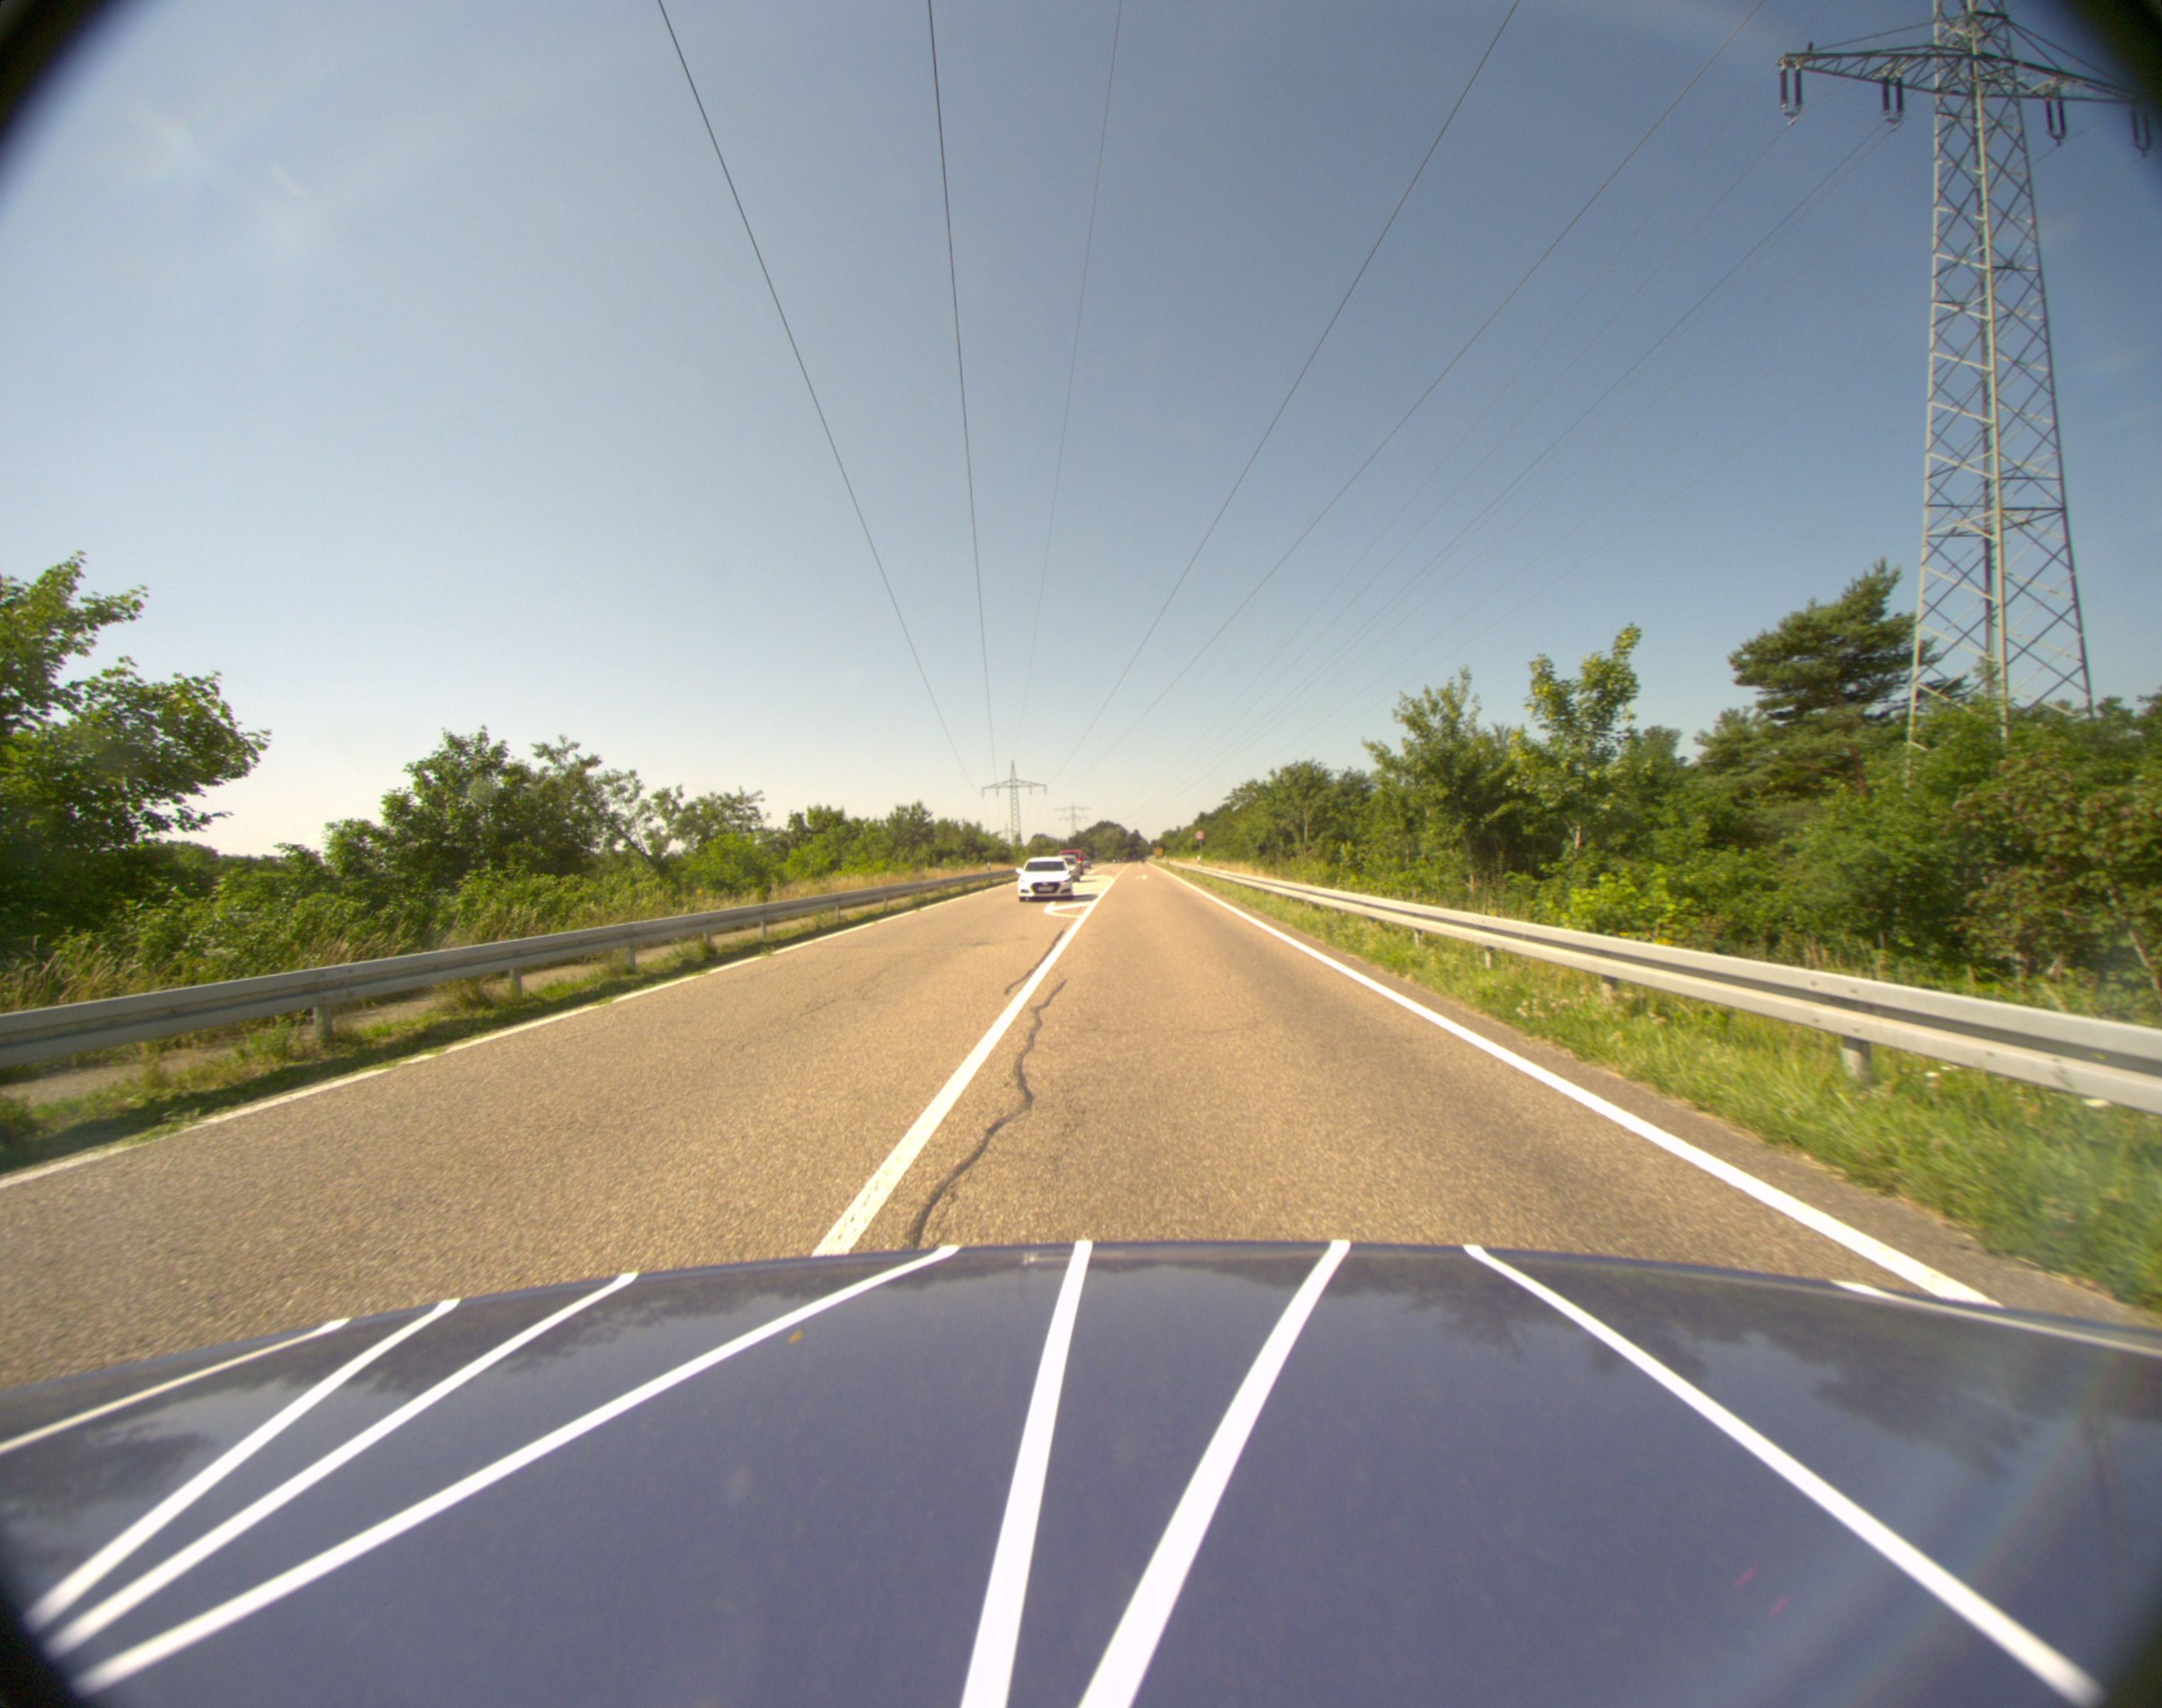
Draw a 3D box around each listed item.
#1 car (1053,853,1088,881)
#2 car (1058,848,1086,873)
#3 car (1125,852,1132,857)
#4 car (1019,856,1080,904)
[{"bbox_3d":[-0.669,0.755,45.446,1.923,1.540,4.792,-2,0,-2],"label":"car"},{"bbox_3d":[-0.708,0.489,62.031,2.126,1.934,5.019,-2,0,1],"label":"car"},{"bbox_3d":[13.078,0.151,208.556,1.833,1.574,4.000,0,0,2],"label":"car"},{"bbox_3d":[-1.097,0.840,26.849,1.923,1.496,4.792,-2,0,-2],"label":"car"}]
